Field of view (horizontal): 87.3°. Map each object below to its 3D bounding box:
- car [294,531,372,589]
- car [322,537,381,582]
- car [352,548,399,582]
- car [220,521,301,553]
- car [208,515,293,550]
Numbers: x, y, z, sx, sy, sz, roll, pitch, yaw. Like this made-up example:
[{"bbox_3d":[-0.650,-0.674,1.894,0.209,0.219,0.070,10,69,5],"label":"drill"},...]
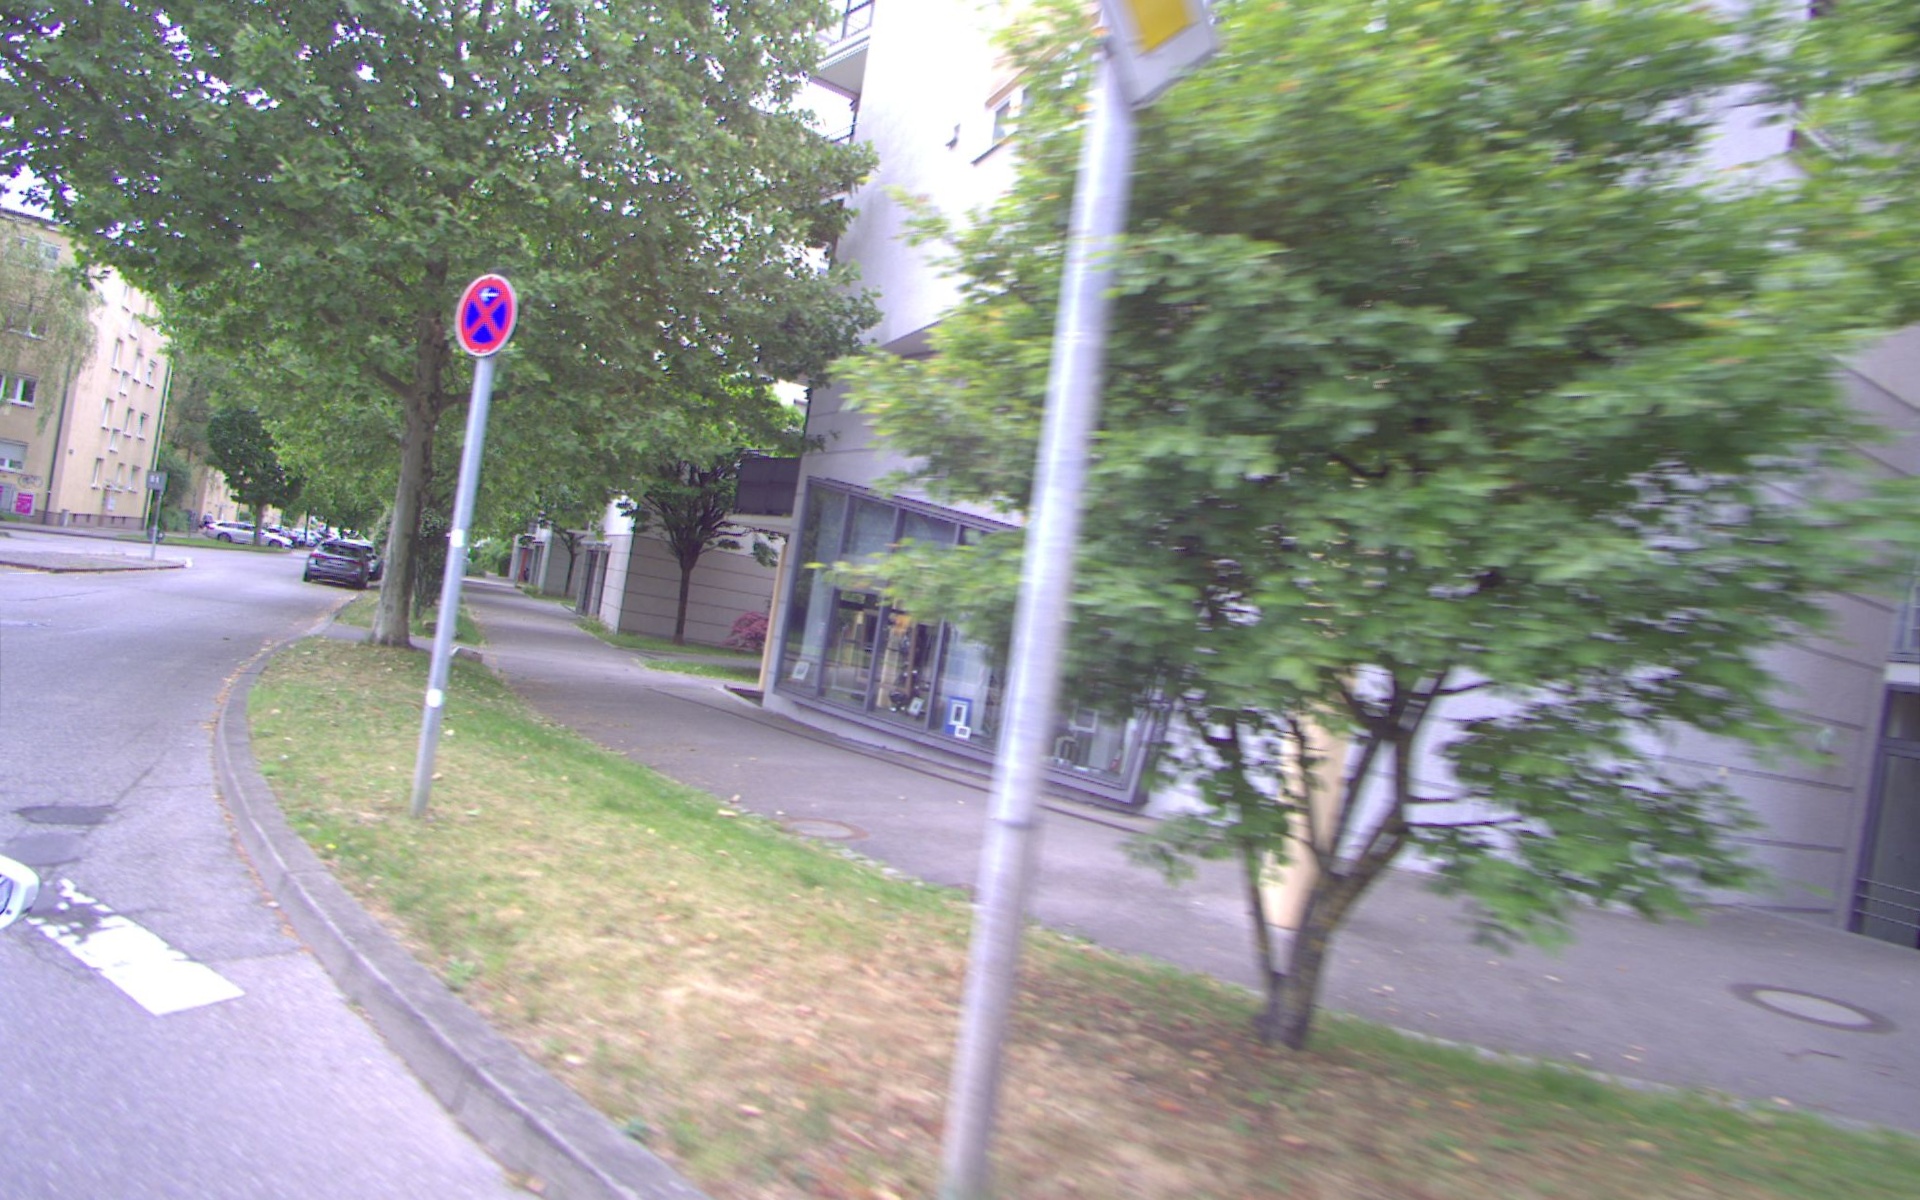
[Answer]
[{"bbox_3d":[-22.086,-1.389,35.571,1.863,1.584,3.991,12,-4,-29],"label":"car"},{"bbox_3d":[-27.189,-1.787,45.038,1.766,1.614,4.221,11,-4,-27],"label":"car"},{"bbox_3d":[-30.249,-1.784,52.129,1.631,1.389,3.424,12,-4,-26],"label":"car"},{"bbox_3d":[-46.838,-4.196,67.482,4.178,1.506,1.815,7,-1,-30],"label":"car"},{"bbox_3d":[-45.217,-4.279,64.204,4.162,1.595,1.804,7,-1,-30],"label":"car"}]
